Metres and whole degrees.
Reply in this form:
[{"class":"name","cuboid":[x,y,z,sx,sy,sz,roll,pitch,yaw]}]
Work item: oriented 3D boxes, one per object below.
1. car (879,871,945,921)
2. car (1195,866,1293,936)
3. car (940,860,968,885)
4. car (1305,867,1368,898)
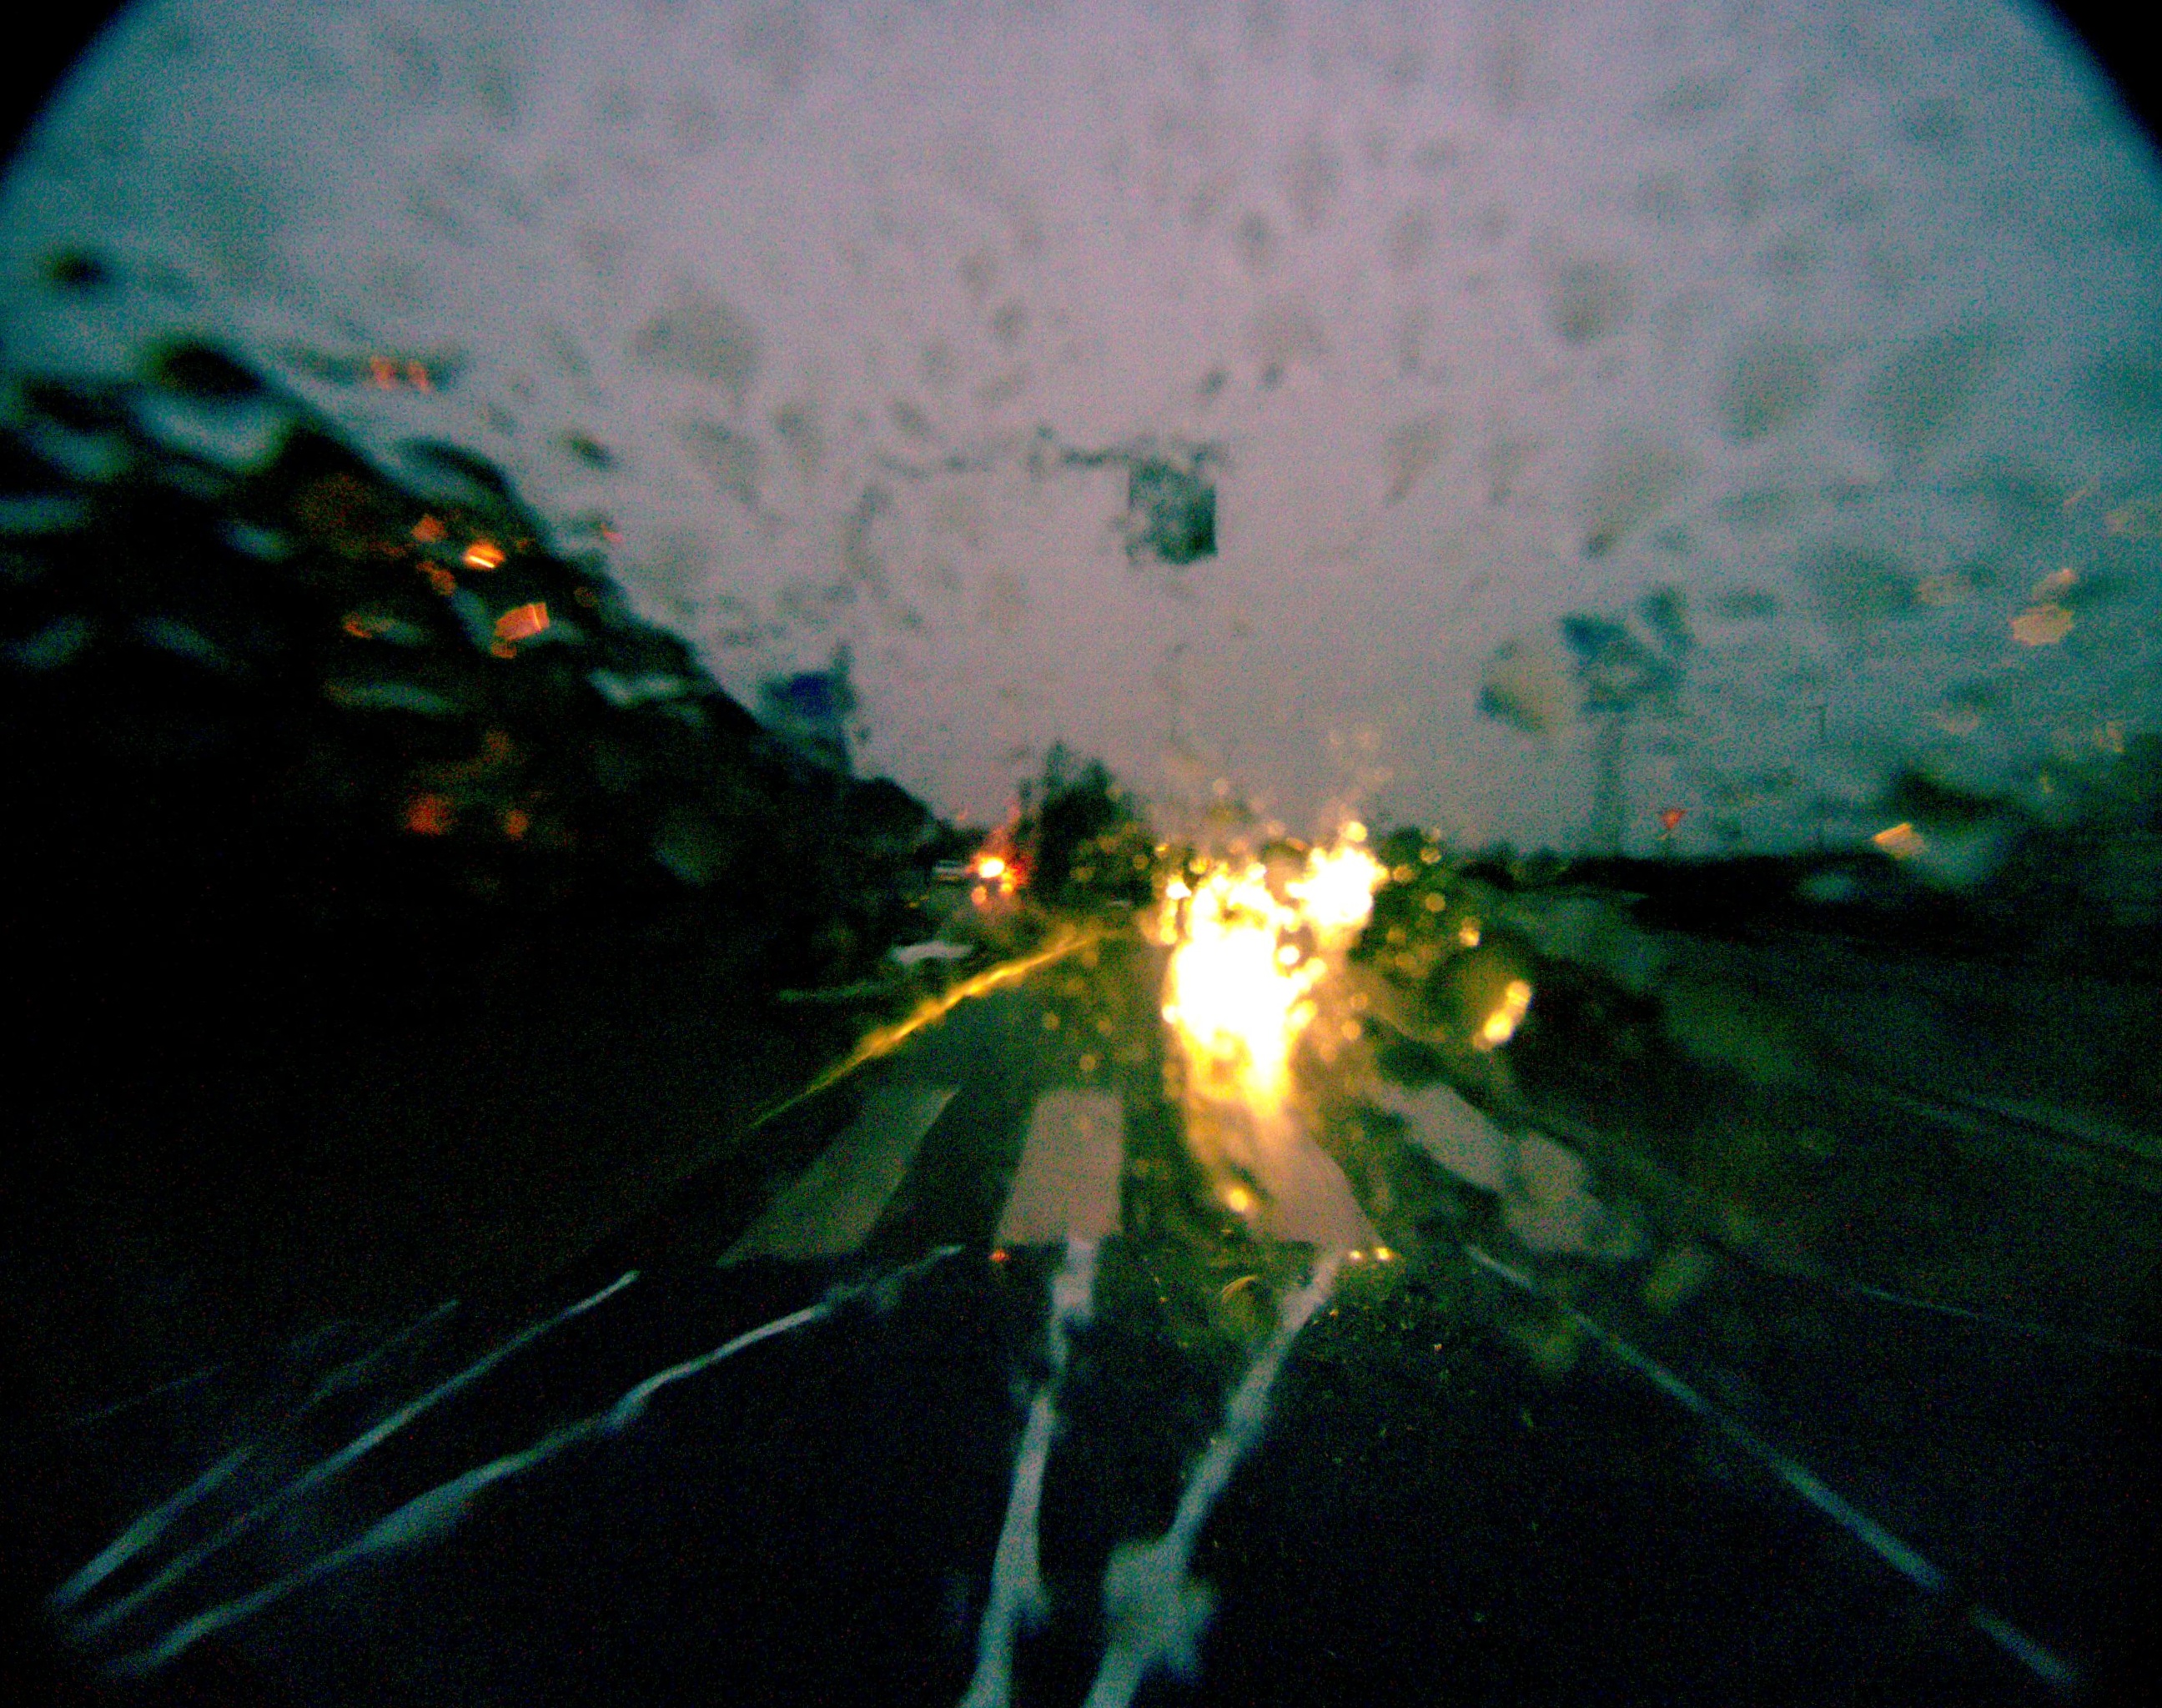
[{"class":"car","cuboid":[-5.349,1.288,24.443,1.777,1.422,3.794,0,-1,-8]},{"class":"car","cuboid":[4.501,1.156,20.425,1.773,1.632,4.429,1,-1,22]},{"class":"car","cuboid":[-9.516,1.331,57.038,1.949,1.795,4.169,1,-1,-9]},{"class":"car","cuboid":[12.945,1.412,38.730,1.998,1.464,4.001,1,0,2]}]
